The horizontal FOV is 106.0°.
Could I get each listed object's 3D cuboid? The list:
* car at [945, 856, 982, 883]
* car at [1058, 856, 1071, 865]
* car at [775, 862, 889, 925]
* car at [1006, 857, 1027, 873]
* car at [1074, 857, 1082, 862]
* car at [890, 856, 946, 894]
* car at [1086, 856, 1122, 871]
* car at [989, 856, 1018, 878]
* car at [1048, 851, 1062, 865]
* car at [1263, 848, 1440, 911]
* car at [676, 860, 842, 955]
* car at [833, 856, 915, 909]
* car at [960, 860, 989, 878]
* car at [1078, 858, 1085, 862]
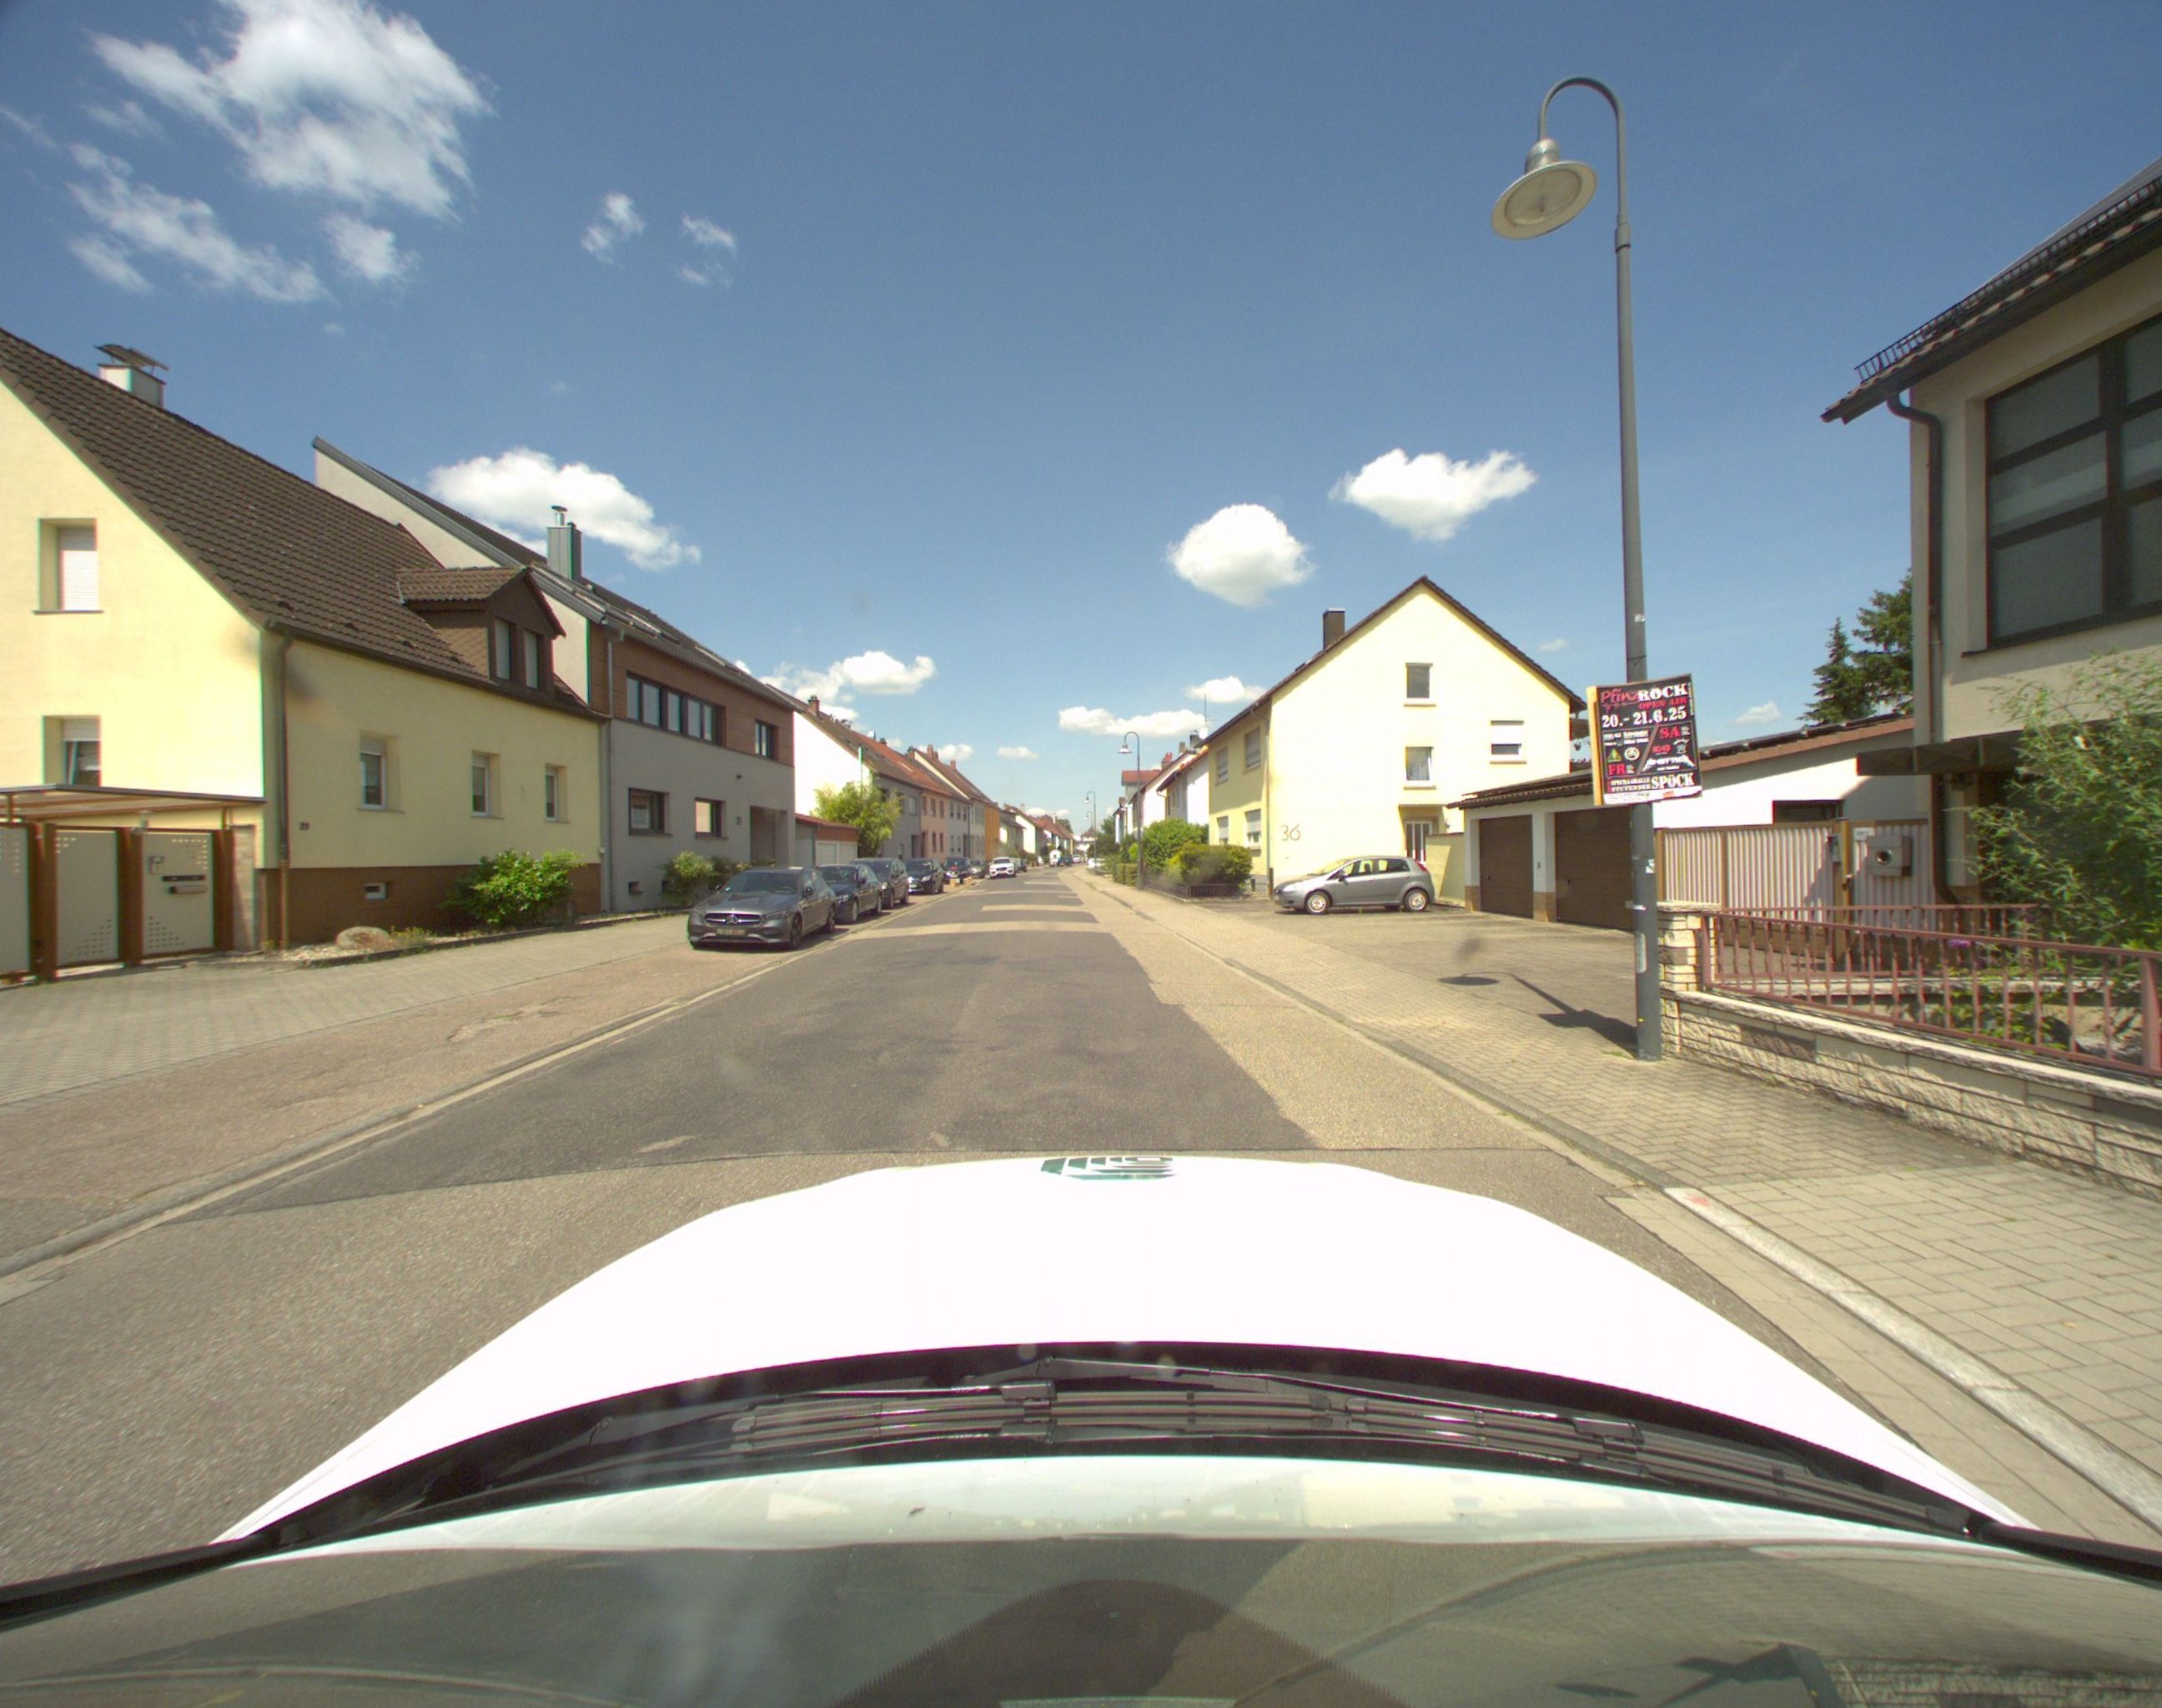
[{"bbox_3d":[-7.406,0.947,51.666,1.806,1.609,3.997,1,0,-2],"label":"car"},{"bbox_3d":[-2.576,1.083,127.727,1.685,1.341,3.772,0,-1,2],"label":"car"},{"bbox_3d":[-6.445,0.969,21.565,1.811,1.433,4.136,1,0,-2],"label":"car"},{"bbox_3d":[-6.786,1.149,85.917,1.843,1.659,4.000,1,0,1],"label":"car"},{"bbox_3d":[-0.702,1.218,187.456,1.685,1.133,3.772,0,-1,2],"label":"car"},{"bbox_3d":[-7.323,0.919,36.885,1.774,1.609,3.997,1,0,-2],"label":"car"},{"bbox_3d":[2.314,0.938,81.099,3.514,1.464,1.627,0,-1,-2],"label":"car"},{"bbox_3d":[-6.134,1.001,64.877,1.843,1.659,4.000,1,0,1],"label":"car"},{"bbox_3d":[-4.312,0.660,134.940,2.037,2.312,3.772,0,-1,2],"label":"car"},{"bbox_3d":[6.932,0.637,21.126,3.977,1.473,1.745,-1,0,-2],"label":"car"},{"bbox_3d":[-6.092,0.928,15.947,1.813,1.433,4.133,3,1,-5],"label":"car"},{"bbox_3d":[-6.819,0.887,27.222,1.774,1.609,3.997,1,0,-2],"label":"car"},{"bbox_3d":[-8.298,1.164,63.799,1.666,1.336,3.722,1,0,1],"label":"car"},{"bbox_3d":[0.028,1.490,206.926,1.685,1.133,3.772,0,-1,2],"label":"car"}]
